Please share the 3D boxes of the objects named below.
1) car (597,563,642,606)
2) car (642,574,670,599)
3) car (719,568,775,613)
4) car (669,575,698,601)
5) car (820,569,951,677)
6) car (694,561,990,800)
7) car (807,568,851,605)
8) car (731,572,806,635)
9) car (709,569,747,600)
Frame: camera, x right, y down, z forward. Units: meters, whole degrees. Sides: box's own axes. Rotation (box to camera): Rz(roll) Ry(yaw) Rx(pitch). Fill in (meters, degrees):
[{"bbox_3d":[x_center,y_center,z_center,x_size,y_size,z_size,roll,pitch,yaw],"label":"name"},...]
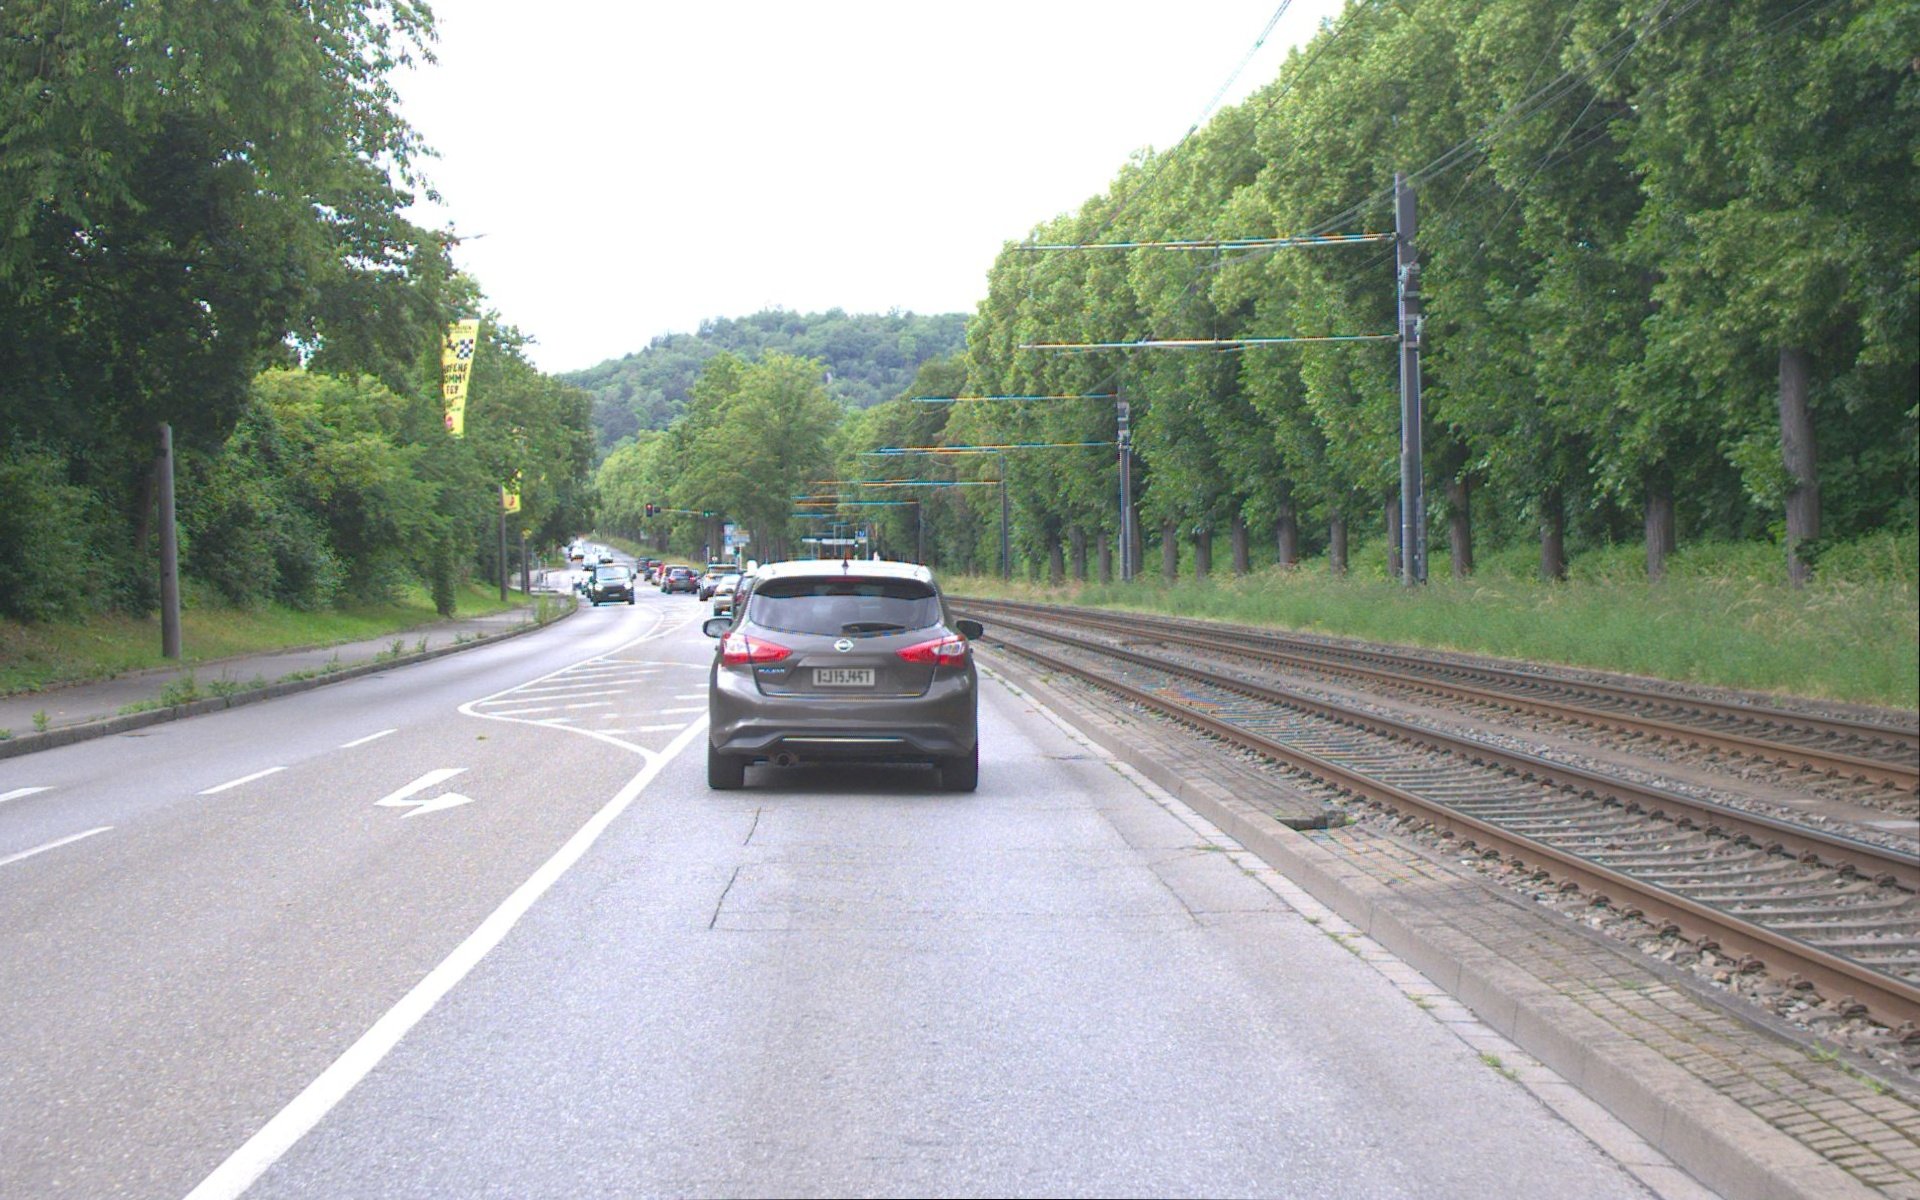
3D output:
[{"bbox_3d":[-16.658,-0.769,168.424,1.993,2.029,5.116,-1,0,-4],"label":"car"},{"bbox_3d":[-20.804,-0.907,235.339,1.699,1.708,4.000,0,0,-2],"label":"car"},{"bbox_3d":[-6.924,-0.322,111.823,1.699,1.439,4.000,0,0,-2],"label":"car"},{"bbox_3d":[-18.059,-0.769,224.656,1.699,1.708,4.000,0,0,-2],"label":"car"},{"bbox_3d":[-1.079,0.295,47.946,1.699,1.439,4.000,0,0,-3],"label":"car"},{"bbox_3d":[-0.778,0.484,23.678,1.850,1.488,4.000,1,1,-1],"label":"car"},{"bbox_3d":[-5.123,-0.522,134.813,1.699,1.439,4.000,0,0,-2],"label":"car"},{"bbox_3d":[-4.476,0.071,80.151,1.699,1.439,4.001,0,0,-4],"label":"car"},{"bbox_3d":[-11.595,-0.774,171.995,1.794,1.505,4.000,0,0,-2],"label":"car"}]
